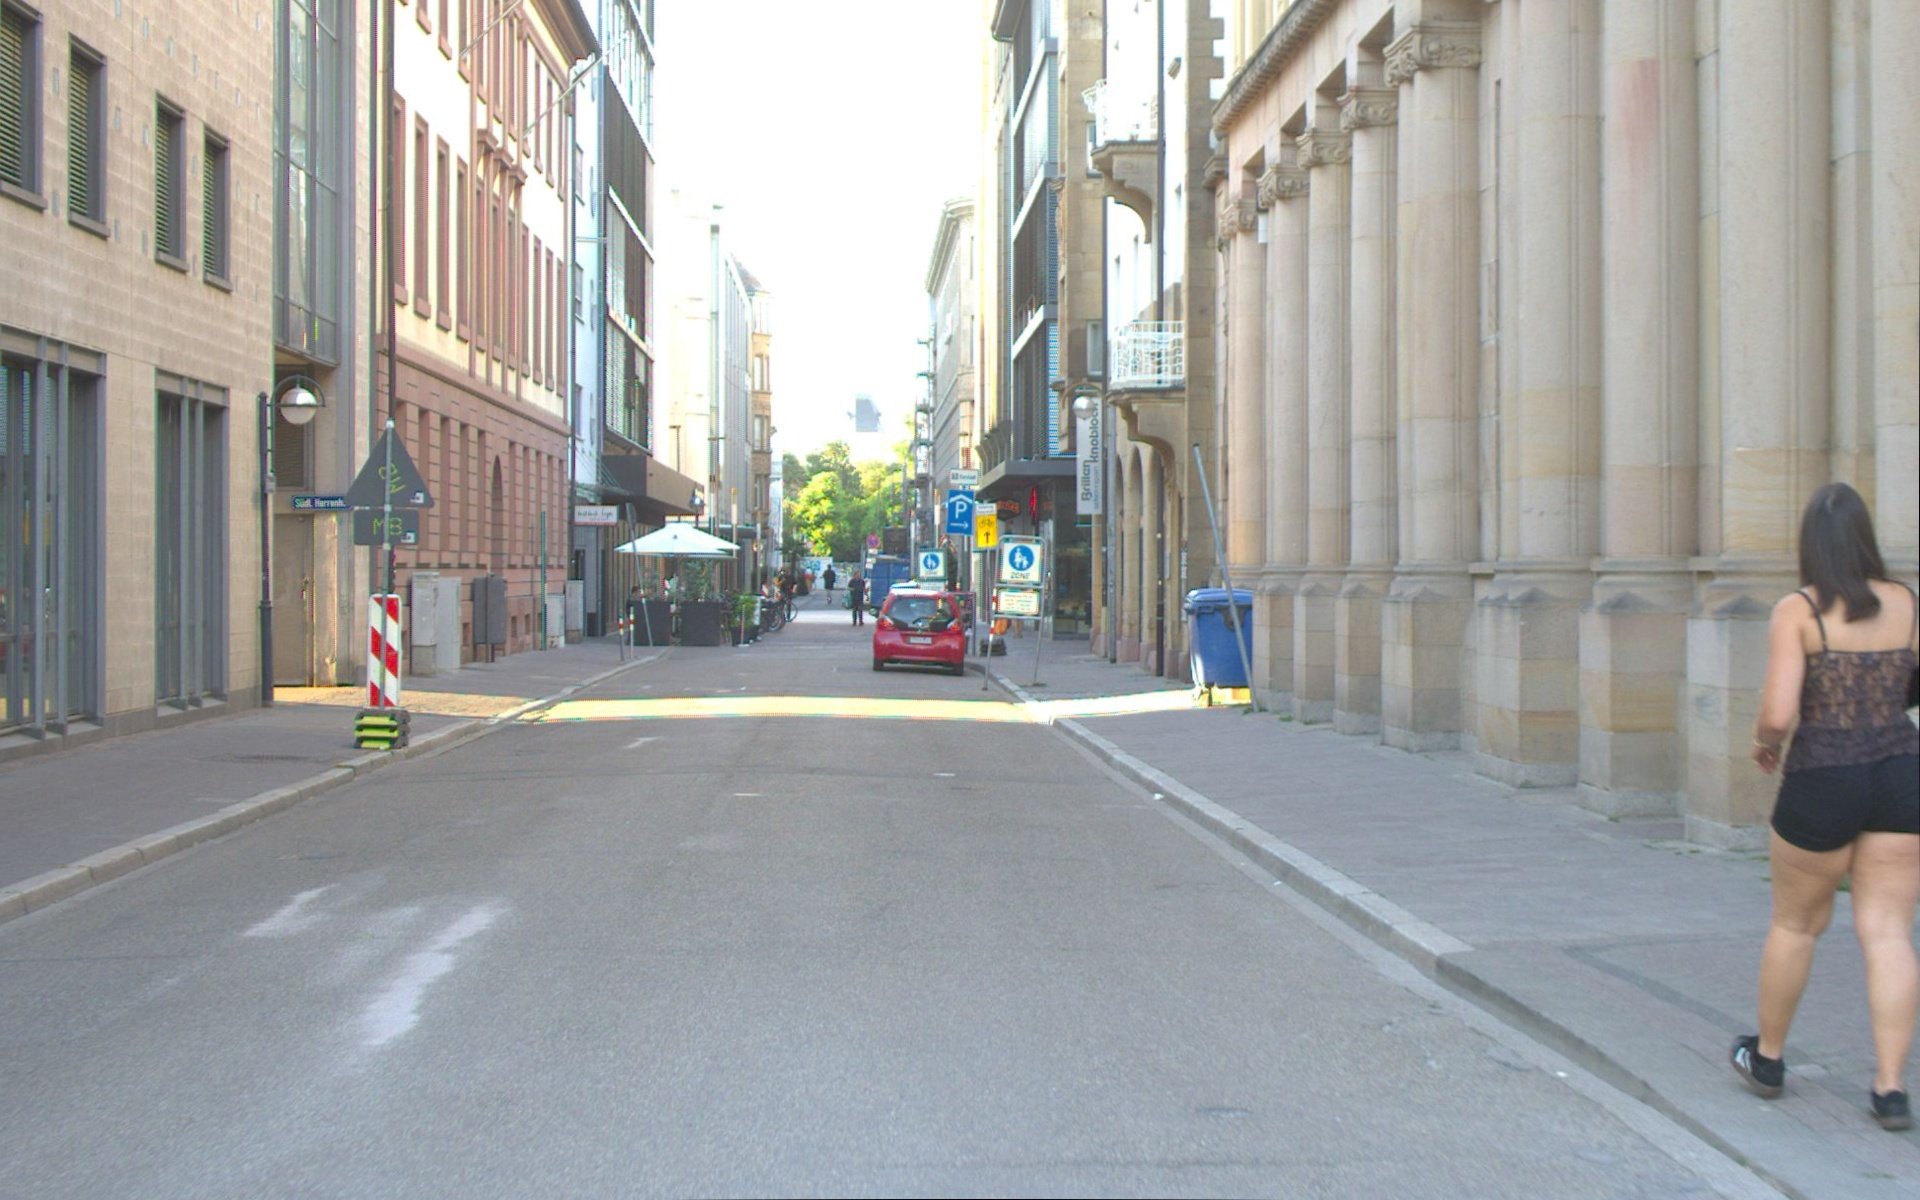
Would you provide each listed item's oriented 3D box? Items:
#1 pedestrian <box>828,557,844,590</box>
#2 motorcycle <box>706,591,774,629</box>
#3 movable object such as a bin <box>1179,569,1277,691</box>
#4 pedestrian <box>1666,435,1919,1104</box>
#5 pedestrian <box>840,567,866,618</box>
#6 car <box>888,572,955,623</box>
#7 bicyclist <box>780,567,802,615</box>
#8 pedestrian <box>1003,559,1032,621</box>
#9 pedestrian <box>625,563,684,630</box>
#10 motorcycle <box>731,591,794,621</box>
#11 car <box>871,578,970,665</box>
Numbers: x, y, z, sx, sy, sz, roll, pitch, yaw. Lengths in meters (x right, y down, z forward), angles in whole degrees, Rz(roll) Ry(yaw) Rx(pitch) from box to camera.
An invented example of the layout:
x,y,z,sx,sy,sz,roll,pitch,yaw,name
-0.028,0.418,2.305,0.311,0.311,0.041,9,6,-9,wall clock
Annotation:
x,y,z,sx,sy,sz,roll,pitch,yaw,name
-6.354,-1.354,176.061,0.804,1.667,0.888,0,0,0,pedestrian
-5.931,0.266,92.650,1.801,1.037,0.494,0,0,-5,motorcycle
3.126,0.345,40.205,0.990,1.387,1.241,-1,1,-2,movable object such as a bin
2.433,0.436,9.412,0.775,1.740,0.875,-1,0,-3,pedestrian
-3.554,-0.254,114.223,0.865,1.707,0.852,0,0,-2,pedestrian
-1.256,-0.108,110.593,1.993,1.605,4.000,0,0,-3,car
-5.815,-0.316,118.200,0.636,1.635,0.772,-1,1,-10,bicyclist
1.381,-0.240,82.644,0.656,1.482,0.493,-1,0,1,pedestrian
-6.817,-0.085,76.797,1.290,1.482,0.661,0,0,-3,pedestrian
-5.792,0.162,100.844,1.801,0.872,0.560,0,0,-5,motorcycle
-0.711,0.352,61.052,1.649,1.422,3.535,3,0,-1,car
